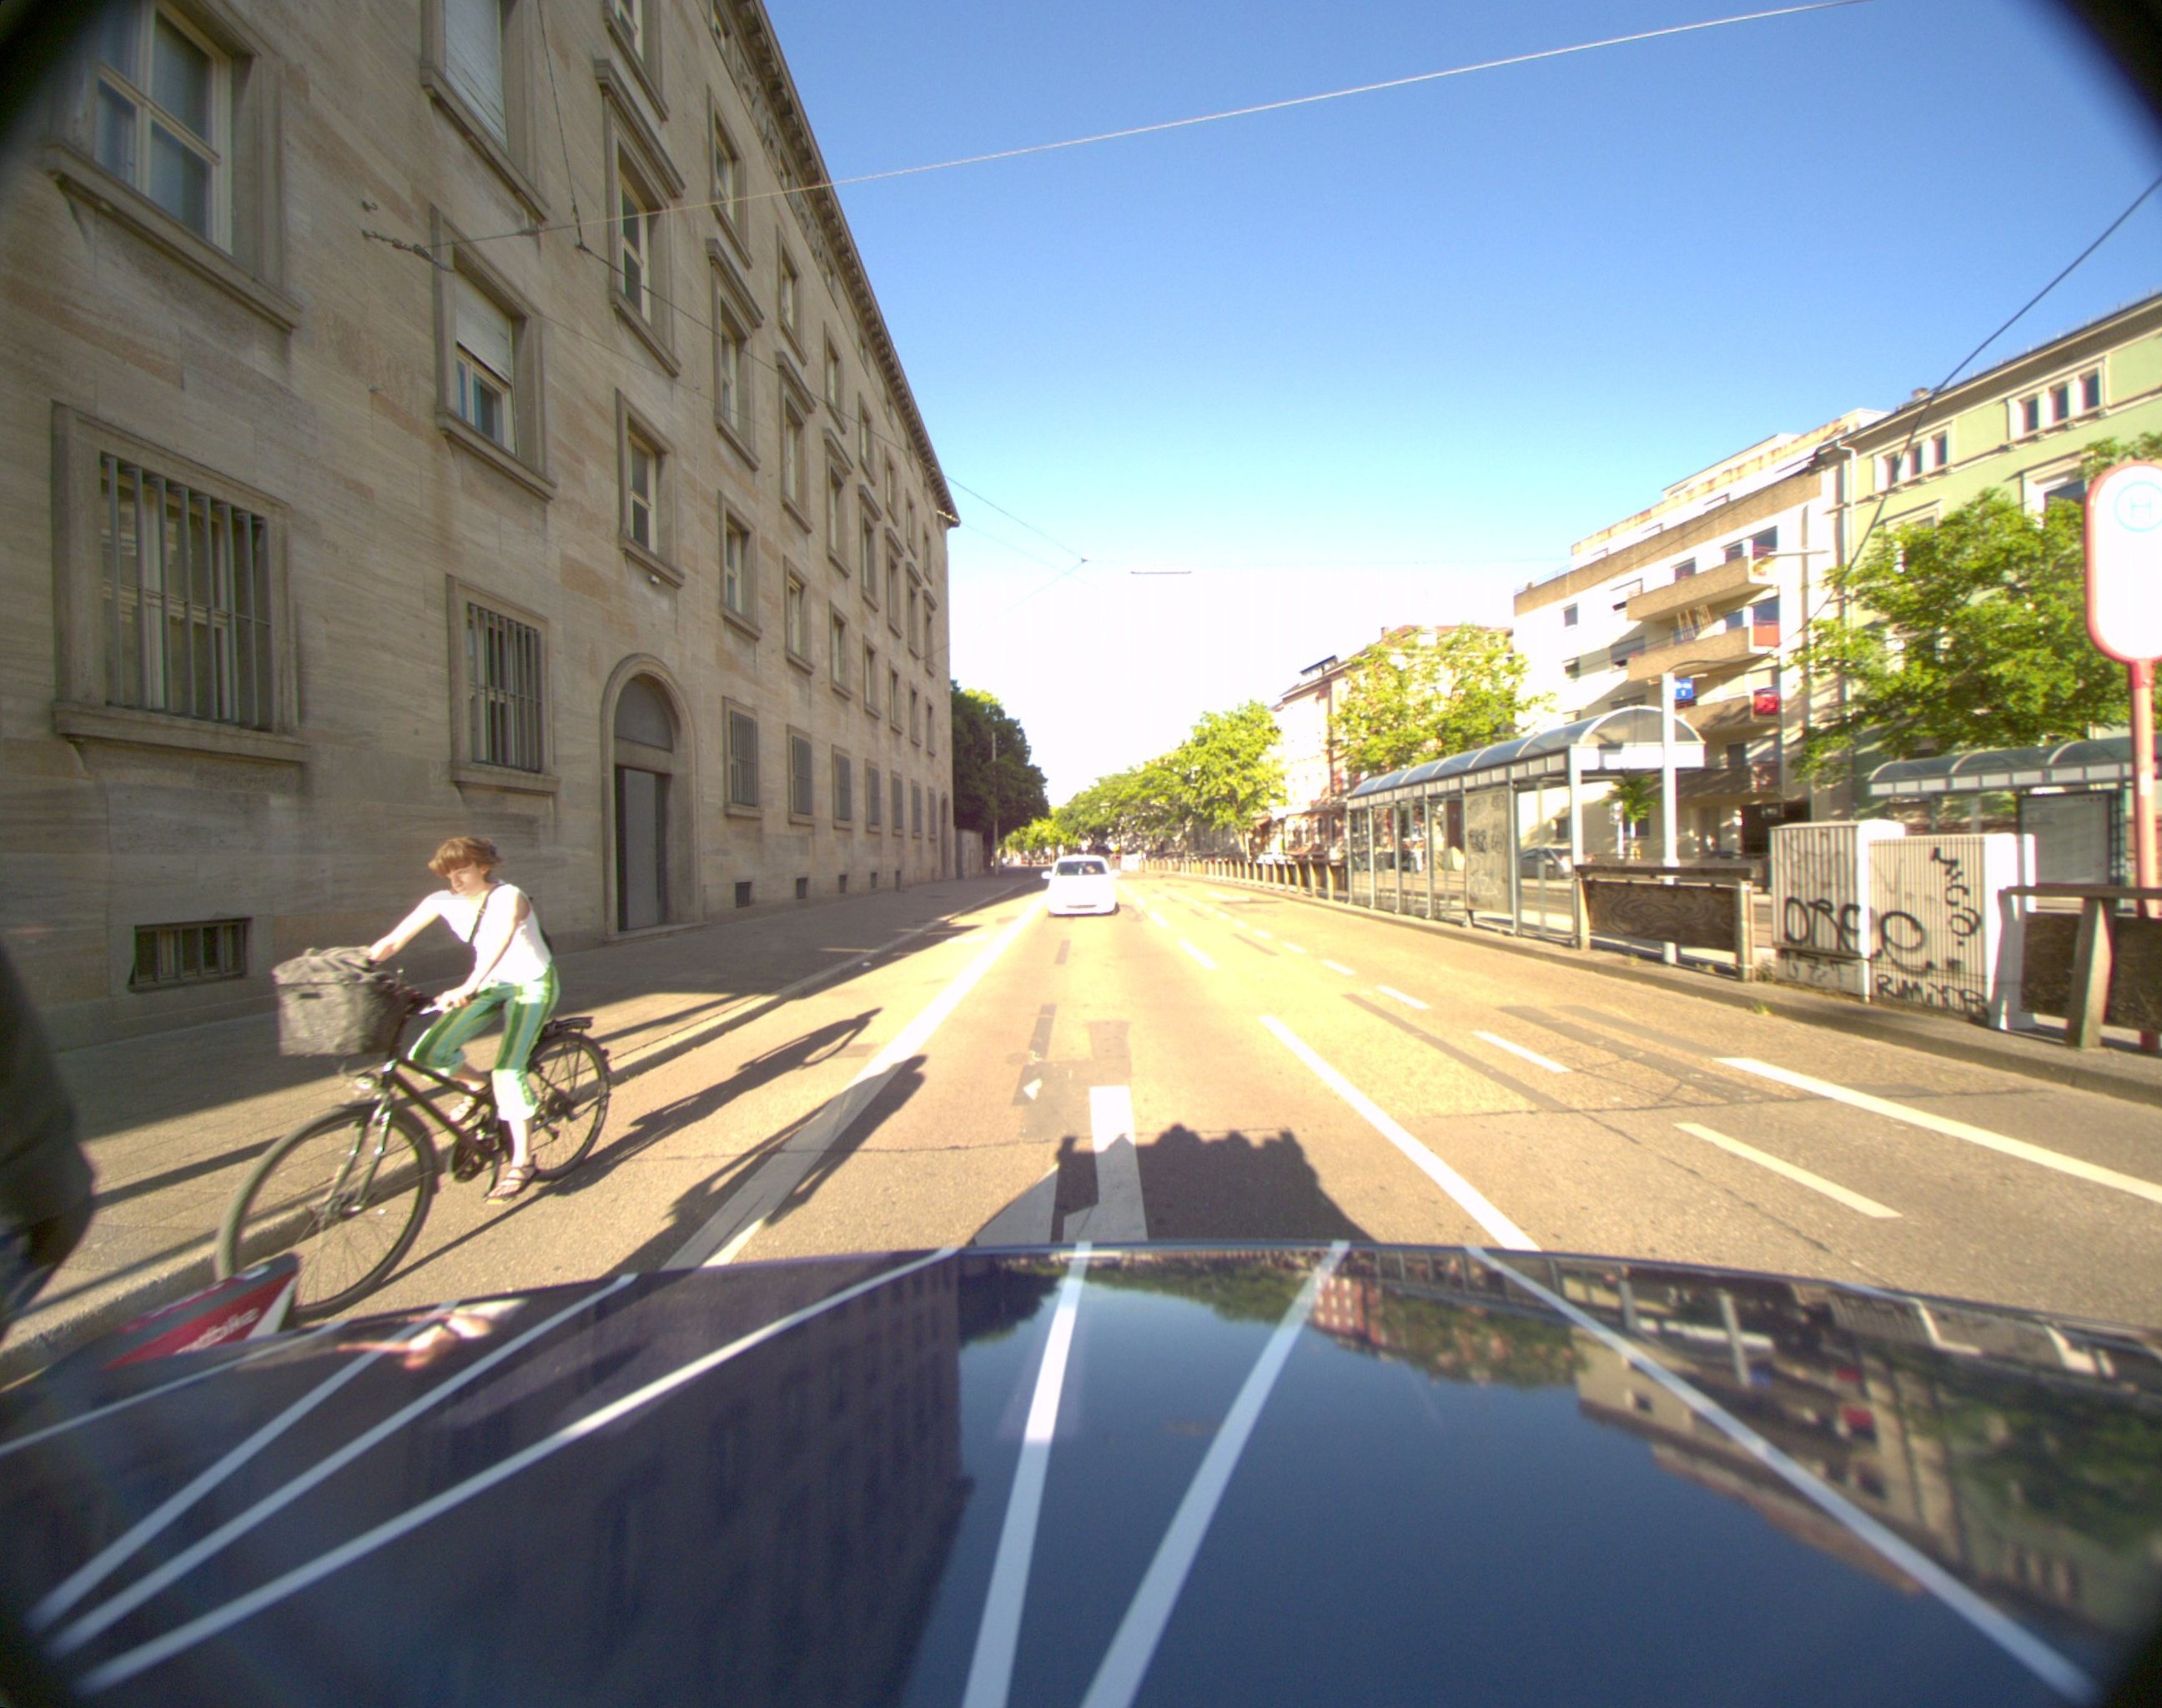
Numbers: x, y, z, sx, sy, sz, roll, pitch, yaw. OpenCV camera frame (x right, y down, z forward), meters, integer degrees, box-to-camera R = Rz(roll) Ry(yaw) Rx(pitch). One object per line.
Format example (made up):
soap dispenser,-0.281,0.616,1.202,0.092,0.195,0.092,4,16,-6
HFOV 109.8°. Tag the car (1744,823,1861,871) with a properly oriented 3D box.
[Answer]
car,31.382,-0.303,33.084,4.001,2.002,1.798,-1,1,-13

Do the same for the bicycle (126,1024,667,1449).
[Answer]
bicycle,-2.549,1.341,3.214,0.427,0.870,1.952,-1,-2,4

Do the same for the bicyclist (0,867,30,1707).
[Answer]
bicyclist,-1.897,0.699,0.792,0.671,1.668,0.657,-1,1,3

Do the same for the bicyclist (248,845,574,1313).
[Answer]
bicyclist,-2.679,0.806,3.142,0.523,1.670,0.859,-1,1,3

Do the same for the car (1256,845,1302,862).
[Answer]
car,16.484,-0.071,63.286,3.648,1.342,1.578,-2,1,-29

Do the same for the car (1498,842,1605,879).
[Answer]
car,20.985,0.271,34.113,2.000,1.521,3.997,-1,0,-8

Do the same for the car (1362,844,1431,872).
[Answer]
car,18.455,0.203,44.653,2.000,1.521,3.997,-1,0,-8

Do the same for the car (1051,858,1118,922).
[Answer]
car,0.098,0.857,19.694,1.571,1.455,3.687,0,0,1

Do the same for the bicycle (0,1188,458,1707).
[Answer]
bicycle,-1.901,1.300,0.942,0.390,0.900,1.952,-1,0,9
